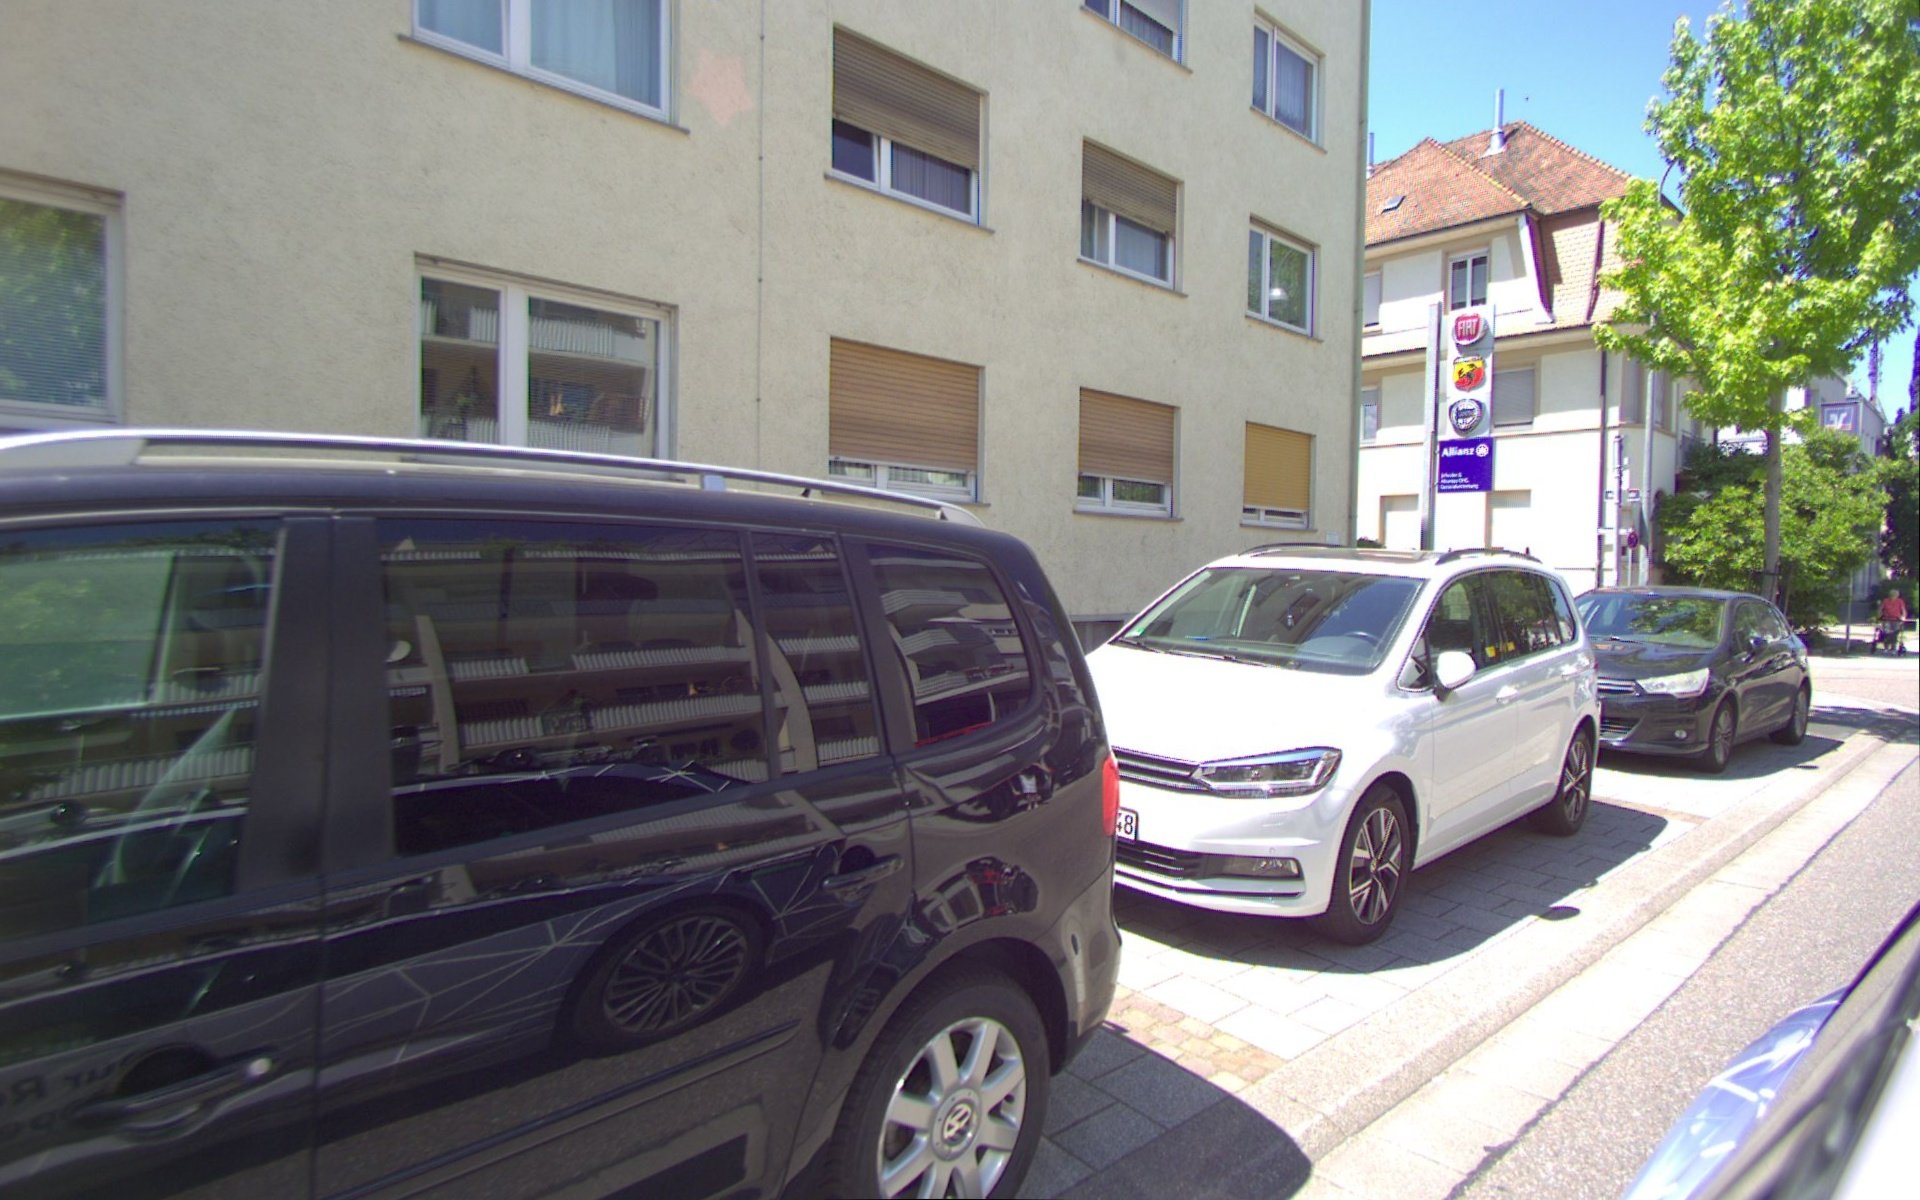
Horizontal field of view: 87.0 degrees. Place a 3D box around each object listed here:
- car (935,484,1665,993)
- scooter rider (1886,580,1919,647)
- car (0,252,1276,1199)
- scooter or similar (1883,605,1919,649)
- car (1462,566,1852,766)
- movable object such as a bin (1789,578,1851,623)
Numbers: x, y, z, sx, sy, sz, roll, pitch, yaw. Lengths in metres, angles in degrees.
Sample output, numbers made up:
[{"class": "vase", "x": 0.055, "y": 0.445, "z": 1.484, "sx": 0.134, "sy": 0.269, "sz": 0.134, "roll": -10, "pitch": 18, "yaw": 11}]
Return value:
[{"class": "car", "x": 2.215, "y": 0.395, "z": 5.646, "sx": 4.613, "sy": 1.695, "sz": 1.899, "roll": 0, "pitch": 3, "yaw": -44}, {"class": "scooter rider", "x": 23.027, "y": 0.323, "z": 24.547, "sx": 0.757, "sy": 1.567, "sz": 0.717, "roll": 0, "pitch": 2, "yaw": -43}, {"class": "car", "x": -1.433, "y": 0.453, "z": 1.829, "sx": 4.462, "sy": 1.695, "sz": 1.858, "roll": 0, "pitch": 3, "yaw": -44}, {"class": "scooter or similar", "x": 22.578, "y": 0.631, "z": 24.166, "sx": 0.741, "sy": 0.974, "sz": 0.664, "roll": 0, "pitch": 3, "yaw": -42}, {"class": "car", "x": 6.755, "y": 0.454, "z": 9.621, "sx": 4.463, "sy": 1.456, "sz": 1.900, "roll": 0, "pitch": 2, "yaw": -40}, {"class": "movable object such as a bin", "x": 30.458, "y": -0.005, "z": 35.852, "sx": 1.356, "sy": 1.476, "sz": 1.372, "roll": 0, "pitch": 5, "yaw": -39}]
